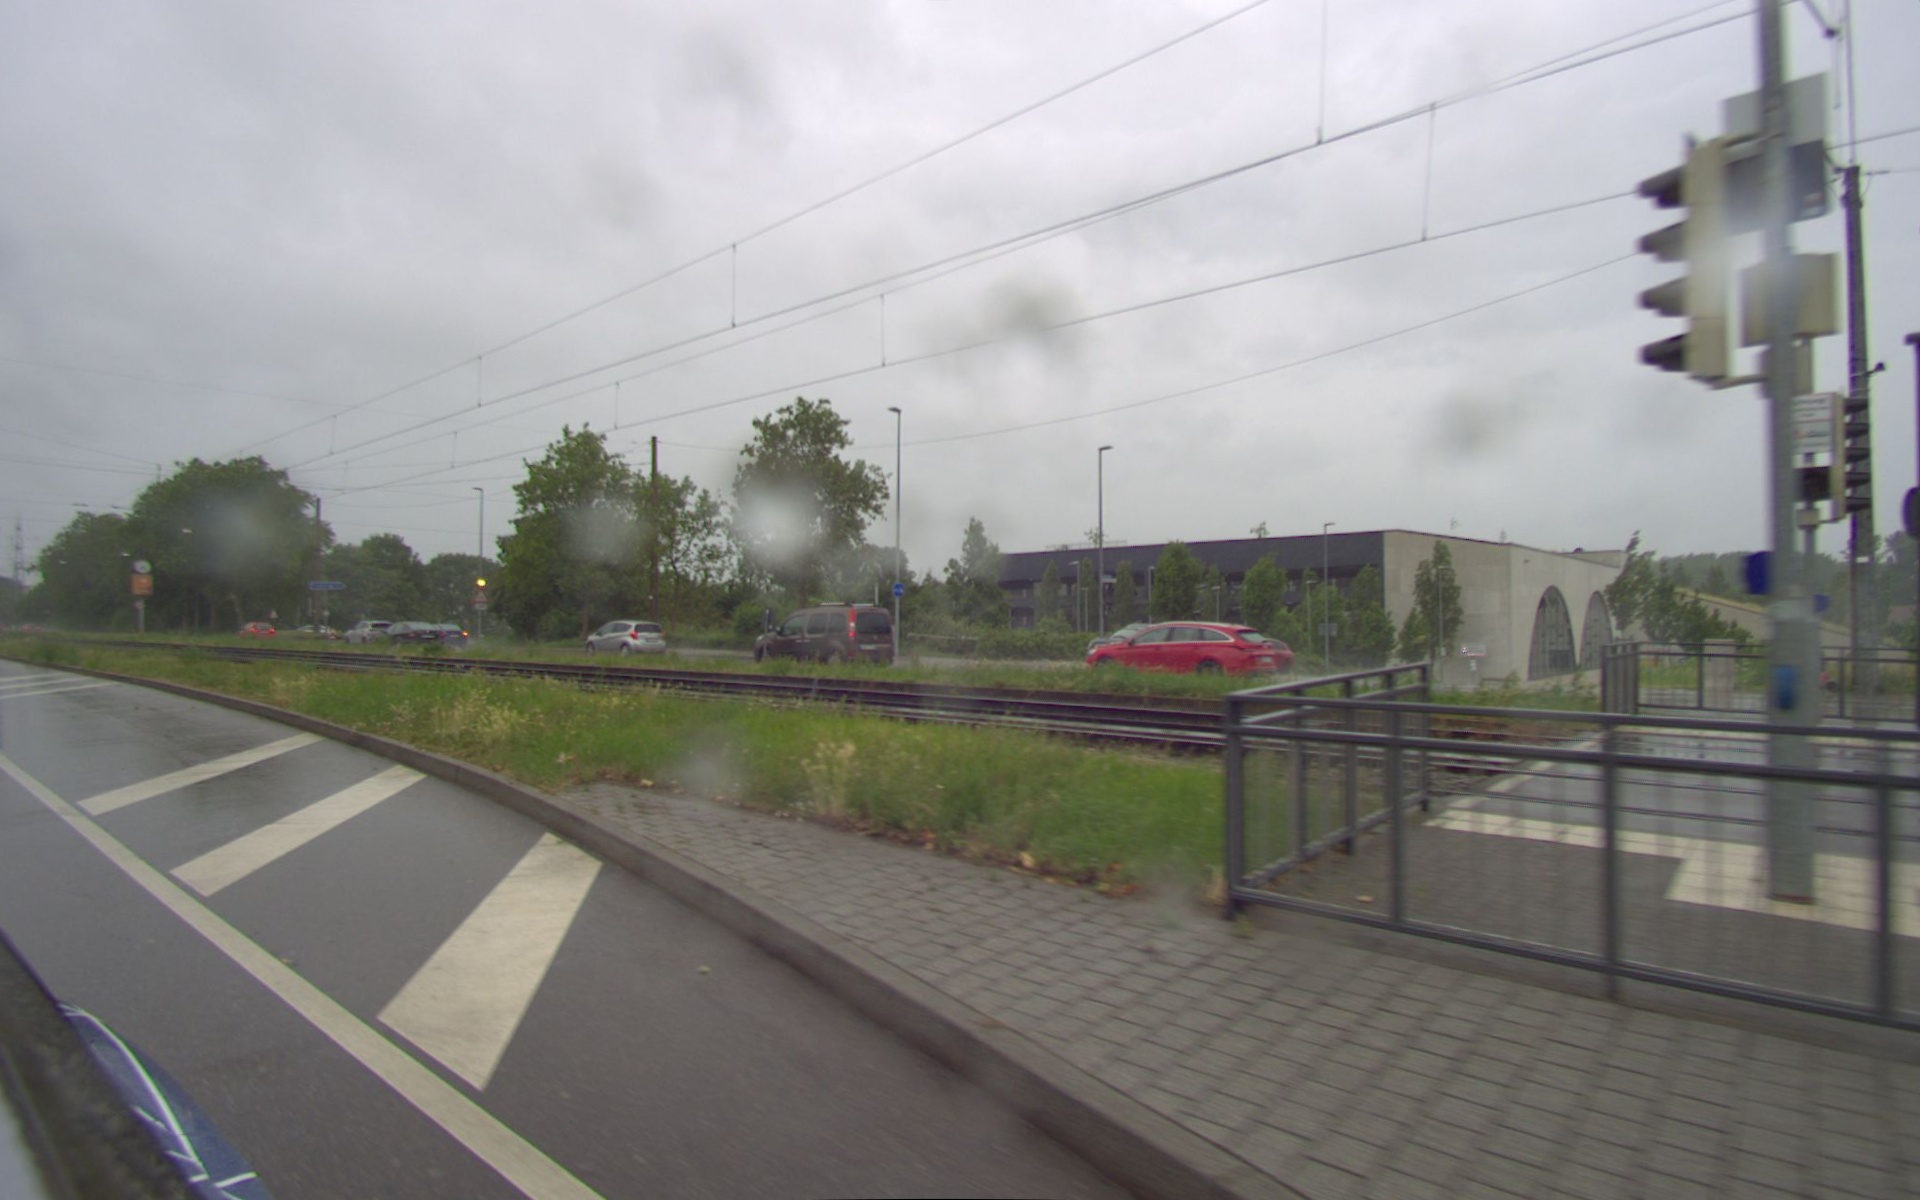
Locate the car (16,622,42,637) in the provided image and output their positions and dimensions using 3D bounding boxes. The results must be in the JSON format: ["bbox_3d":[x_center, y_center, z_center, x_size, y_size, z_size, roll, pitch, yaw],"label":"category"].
[{"bbox_3d":[-129.099,4.142,140.307,4.515,2.029,1.951,-1,-1,39],"label":"car"}]

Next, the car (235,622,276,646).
[{"bbox_3d":[-49.818,2.414,71.522,3.618,1.602,1.585,-1,-1,42],"label":"car"}]

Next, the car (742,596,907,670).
[{"bbox_3d":[-3.631,0.817,26.800,4.253,1.785,1.974,0,0,39],"label":"car"}]

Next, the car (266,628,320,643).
[{"bbox_3d":[-67.207,3.545,102.011,4.418,1.366,1.610,0,0,-37],"label":"car"}]

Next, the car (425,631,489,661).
[{"bbox_3d":[-30.381,2.717,61.107,4.538,1.694,1.972,-1,-1,42],"label":"car"}]

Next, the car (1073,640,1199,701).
[{"bbox_3d":[6.165,2.425,35.497,3.931,1.874,2.006,-1,-1,-28],"label":"car"}]

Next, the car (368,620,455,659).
[{"bbox_3d":[-24.372,1.753,44.937,4.379,1.608,1.972,-2,-5,42],"label":"car"}]

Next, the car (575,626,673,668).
[{"bbox_3d":[-13.490,1.864,40.543,4.092,1.608,1.972,-2,-3,42],"label":"car"}]

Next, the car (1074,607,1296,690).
[{"bbox_3d":[5.112,1.065,23.388,4.623,1.720,1.973,-1,-1,41],"label":"car"}]

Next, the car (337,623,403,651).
[{"bbox_3d":[-33.452,2.083,57.355,4.296,1.497,1.973,-1,-1,41],"label":"car"}]
